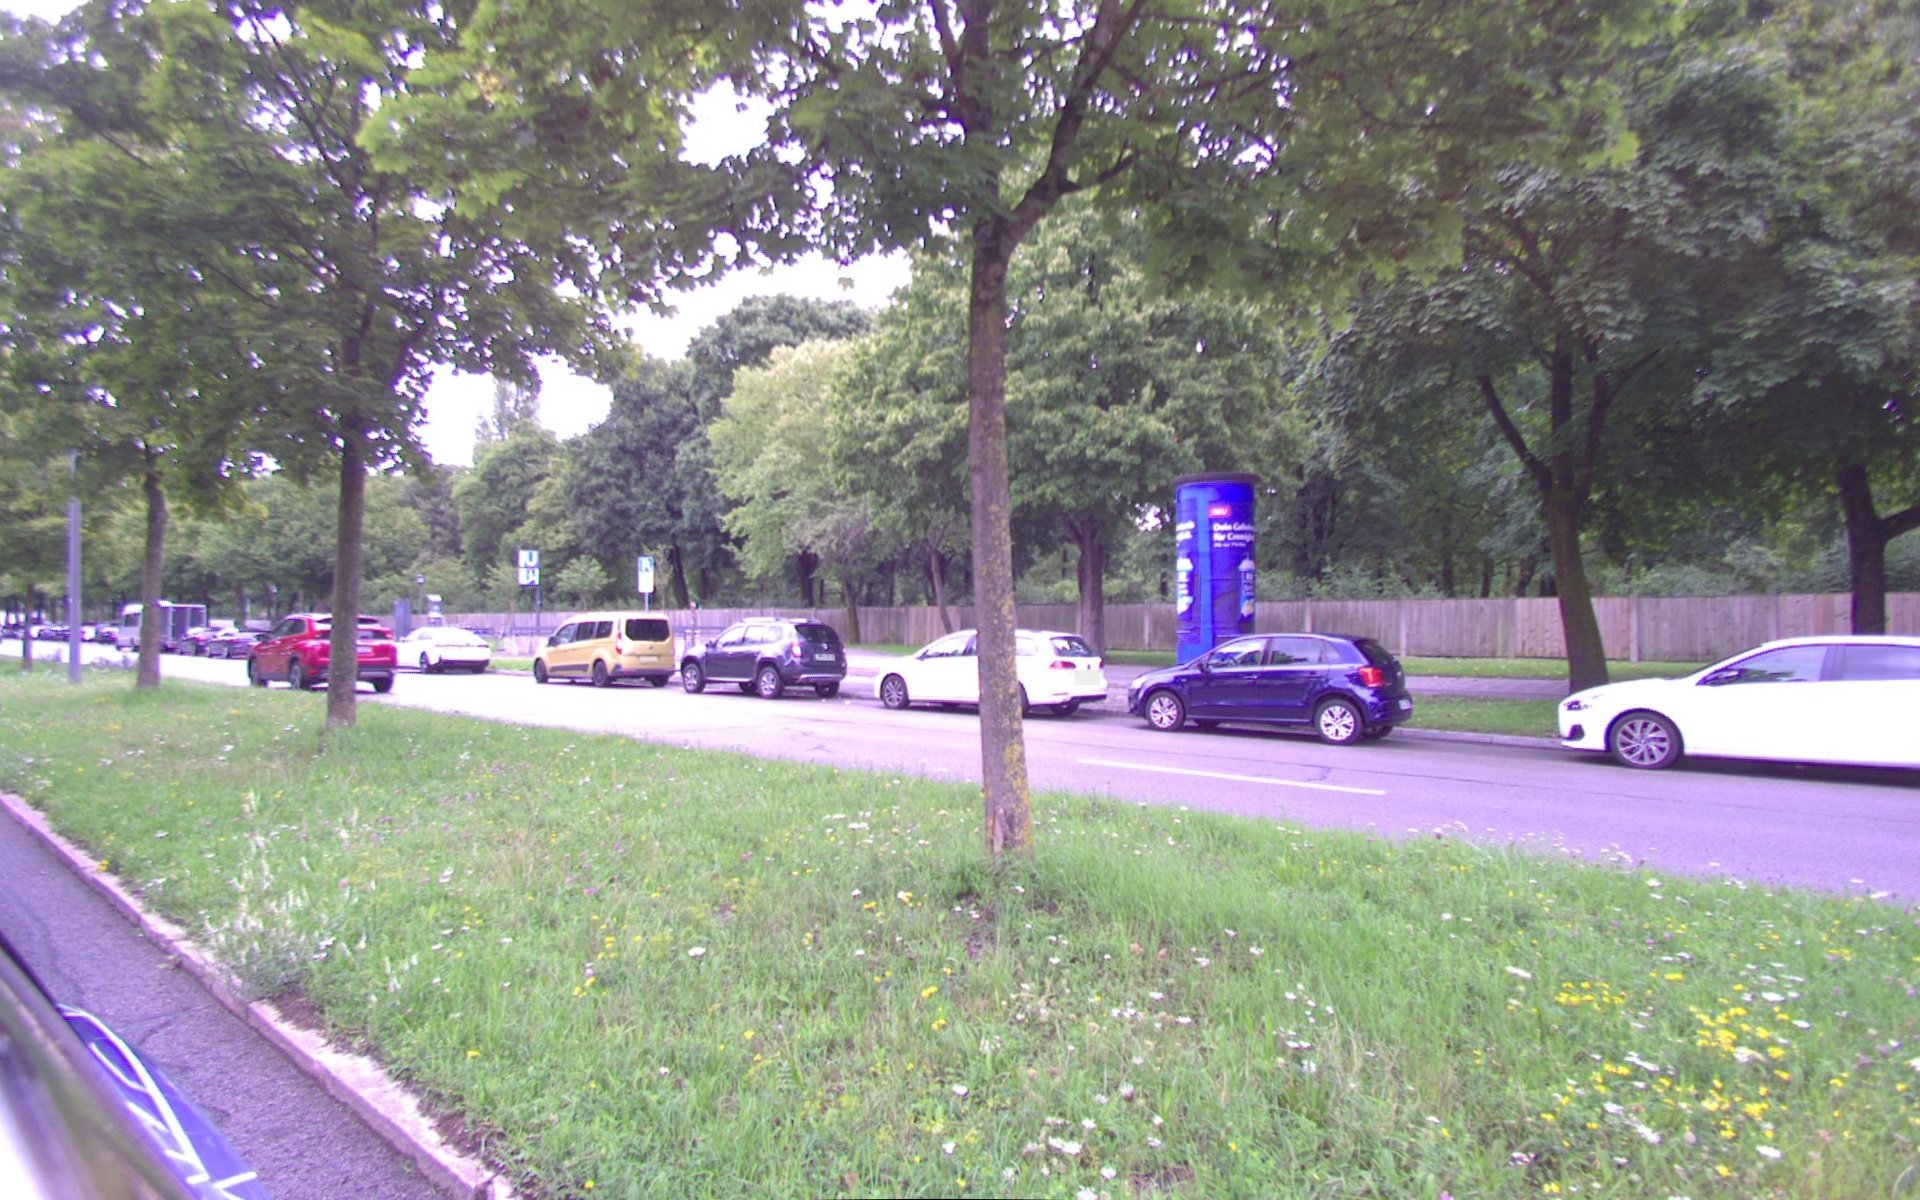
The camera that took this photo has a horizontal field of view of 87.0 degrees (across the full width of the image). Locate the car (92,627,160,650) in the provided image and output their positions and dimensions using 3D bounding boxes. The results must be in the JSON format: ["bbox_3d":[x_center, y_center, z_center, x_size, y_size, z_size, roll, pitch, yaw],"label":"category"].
[{"bbox_3d":[-64.553,2.970,78.420,1.779,1.497,3.993,-2,0,6],"label":"car"}]

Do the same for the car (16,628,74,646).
[{"bbox_3d":[-90.227,3.660,99.881,1.869,1.569,3.990,-2,0,8],"label":"car"}]

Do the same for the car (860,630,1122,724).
[{"bbox_3d":[0.453,1.272,17.837,4.529,1.461,1.744,-2,-3,40],"label":"car"}]

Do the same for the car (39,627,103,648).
[{"bbox_3d":[-78.600,3.312,89.494,1.869,1.569,3.990,-2,0,8],"label":"car"}]

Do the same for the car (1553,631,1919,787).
[{"bbox_3d":[8.847,1.071,10.646,4.276,1.455,1.590,-2,-3,41],"label":"car"}]

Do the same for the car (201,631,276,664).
[{"bbox_3d":[-33.211,2.153,46.550,4.428,1.436,1.781,-2,-3,41],"label":"car"}]

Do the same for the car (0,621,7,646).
[{"bbox_3d":[-78.178,2.668,81.269,4.990,1.948,1.781,-1,-3,40],"label":"car"}]

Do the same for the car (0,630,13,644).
[{"bbox_3d":[-106.900,4.107,112.725,4.170,1.454,1.864,-1,0,45],"label":"car"}]

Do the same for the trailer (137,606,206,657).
[{"bbox_3d":[-42.545,1.722,54.587,4.656,2.610,1.996,-2,-3,41],"label":"trailer"}]

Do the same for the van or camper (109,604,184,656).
[{"bbox_3d":[-47.151,1.745,58.590,7.542,2.859,2.014,-2,-3,41],"label":"van or camper"}]

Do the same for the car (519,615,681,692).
[{"bbox_3d":[-9.282,1.345,25.913,4.815,1.796,1.795,-2,-3,42],"label":"car"}]

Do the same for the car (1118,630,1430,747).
[{"bbox_3d":[4.324,1.153,14.224,3.892,1.428,1.597,-1,-3,38],"label":"car"}]

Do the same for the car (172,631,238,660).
[{"bbox_3d":[-37.986,2.271,50.901,4.235,1.394,1.781,-2,-3,41],"label":"car"}]

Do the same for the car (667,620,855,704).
[{"bbox_3d":[-4.397,1.294,22.041,4.252,1.658,1.719,-2,-3,40],"label":"car"}]

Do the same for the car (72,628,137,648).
[{"bbox_3d":[-73.469,3.250,86.975,1.722,1.466,3.984,-2,0,13],"label":"car"}]

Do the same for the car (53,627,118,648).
[{"bbox_3d":[-76.248,3.275,88.308,1.872,1.569,3.984,-2,0,13],"label":"car"}]

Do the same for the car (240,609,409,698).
[{"bbox_3d":[-13.638,1.118,21.631,4.243,1.709,1.884,-1,-3,41],"label":"car"}]

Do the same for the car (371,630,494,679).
[{"bbox_3d":[-17.318,1.754,33.115,4.871,1.484,1.838,-2,-3,40],"label":"car"}]

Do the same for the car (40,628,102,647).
[{"bbox_3d":[-80.998,3.410,92.319,1.869,1.569,3.990,-2,0,8],"label":"car"}]
